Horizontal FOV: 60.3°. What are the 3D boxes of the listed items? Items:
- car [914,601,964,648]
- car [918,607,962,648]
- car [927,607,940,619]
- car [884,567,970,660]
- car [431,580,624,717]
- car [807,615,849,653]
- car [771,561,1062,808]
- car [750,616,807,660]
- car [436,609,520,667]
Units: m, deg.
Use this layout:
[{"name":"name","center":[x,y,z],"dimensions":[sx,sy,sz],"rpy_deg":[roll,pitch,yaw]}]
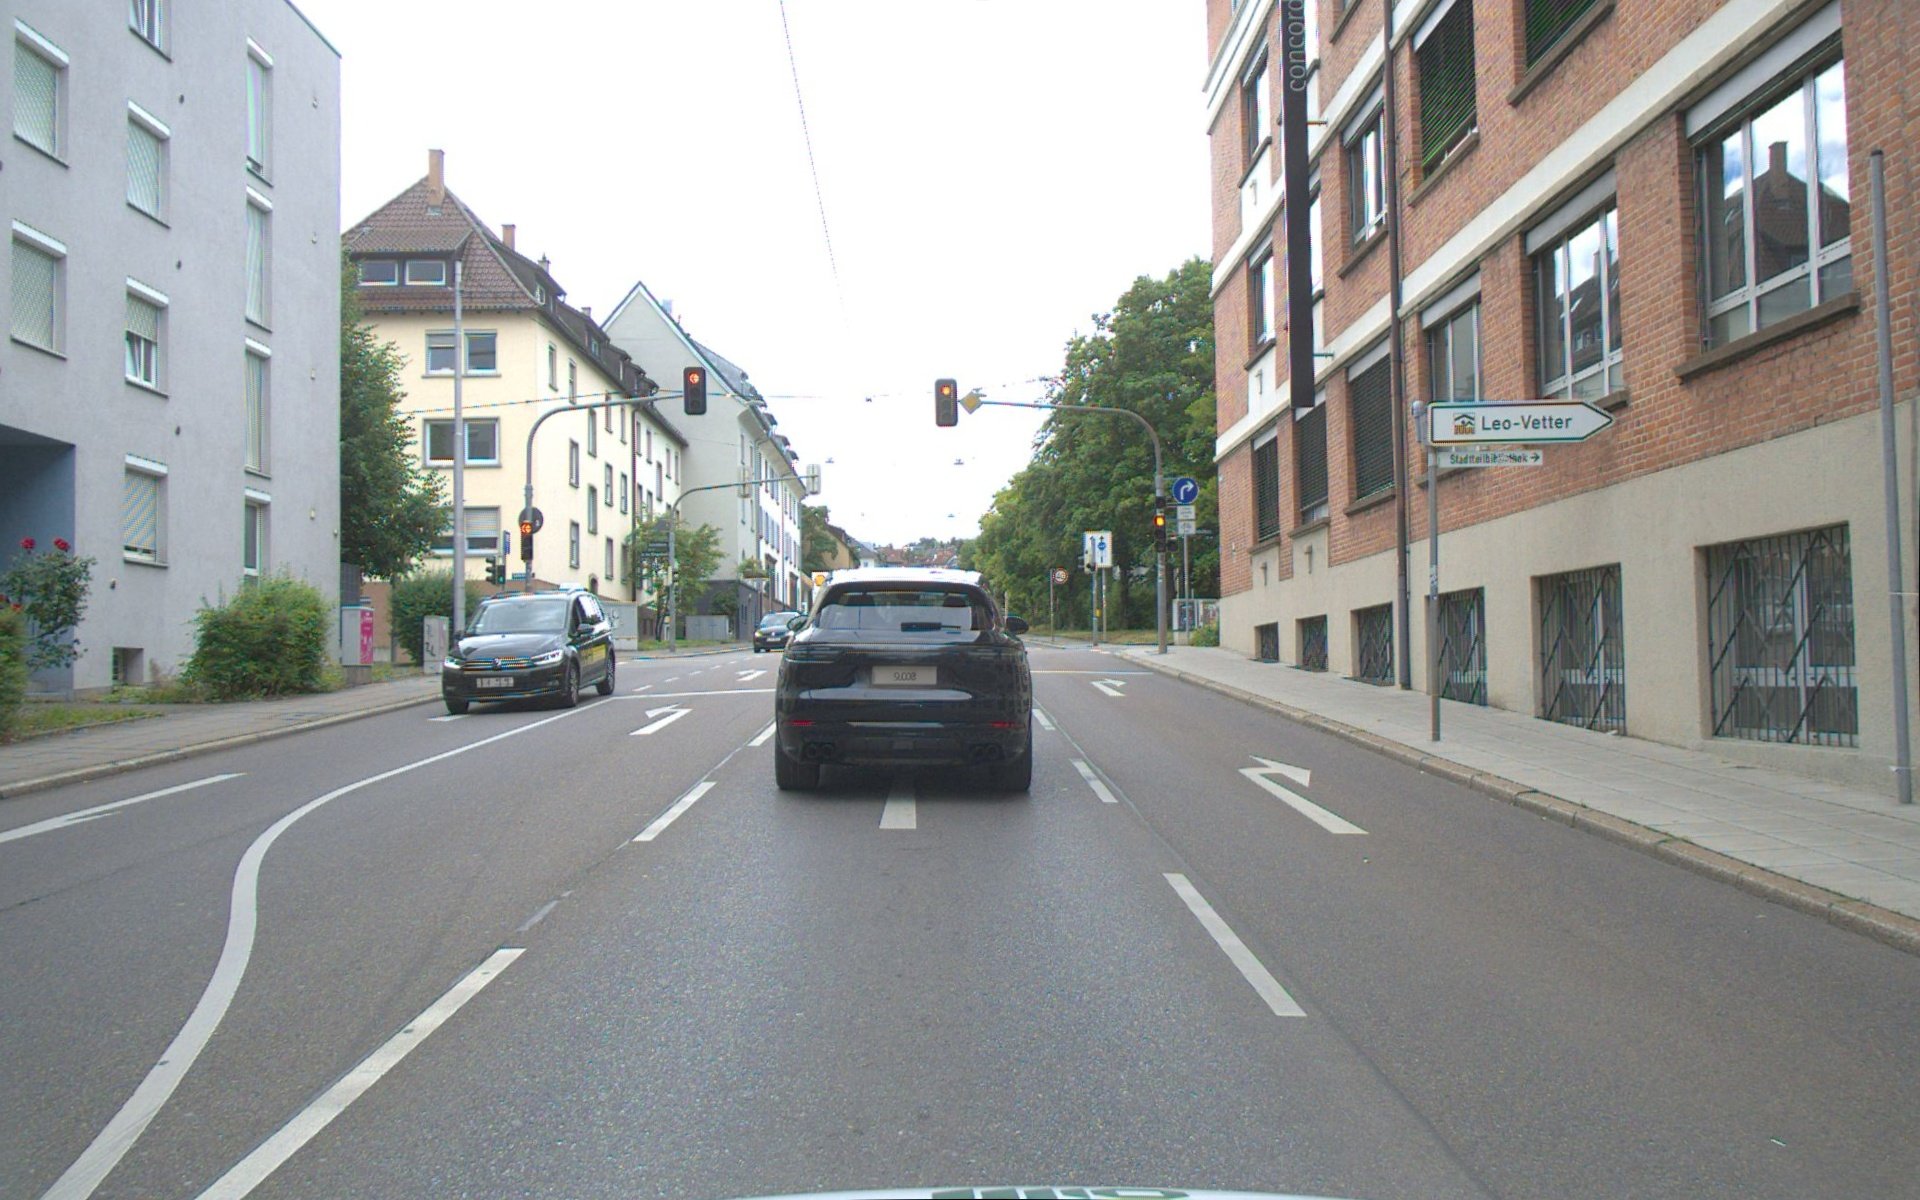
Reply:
[{"name":"car","center":[-0.754,0.894,61.382],"dimensions":[1.790,1.633,4.135],"rpy_deg":[1,0,0]},{"name":"car","center":[-0.845,1.164,70.255],"dimensions":[1.790,1.633,3.858],"rpy_deg":[1,0,0]},{"name":"car","center":[-3.673,1.761,227.943],"dimensions":[1.790,1.633,4.135],"rpy_deg":[1,0,0]},{"name":"car","center":[-0.756,0.293,39.435],"dimensions":[1.925,2.078,4.135],"rpy_deg":[1,0,0]},{"name":"car","center":[-6.236,0.648,24.325],"dimensions":[1.748,1.736,4.305],"rpy_deg":[-3,0,-2]},{"name":"car","center":[-6.316,1.597,79.329],"dimensions":[1.669,1.614,3.936],"rpy_deg":[-3,0,-1]},{"name":"car","center":[-0.309,0.577,13.644],"dimensions":[2.006,1.695,4.266],"rpy_deg":[1,0,0]},{"name":"car","center":[-6.639,1.369,60.853],"dimensions":[1.639,1.424,3.794],"rpy_deg":[-3,0,0]},{"name":"car","center":[-14.887,1.151,51.255],"dimensions":[1.658,1.582,3.762],"rpy_deg":[-3,1,-5]}]
